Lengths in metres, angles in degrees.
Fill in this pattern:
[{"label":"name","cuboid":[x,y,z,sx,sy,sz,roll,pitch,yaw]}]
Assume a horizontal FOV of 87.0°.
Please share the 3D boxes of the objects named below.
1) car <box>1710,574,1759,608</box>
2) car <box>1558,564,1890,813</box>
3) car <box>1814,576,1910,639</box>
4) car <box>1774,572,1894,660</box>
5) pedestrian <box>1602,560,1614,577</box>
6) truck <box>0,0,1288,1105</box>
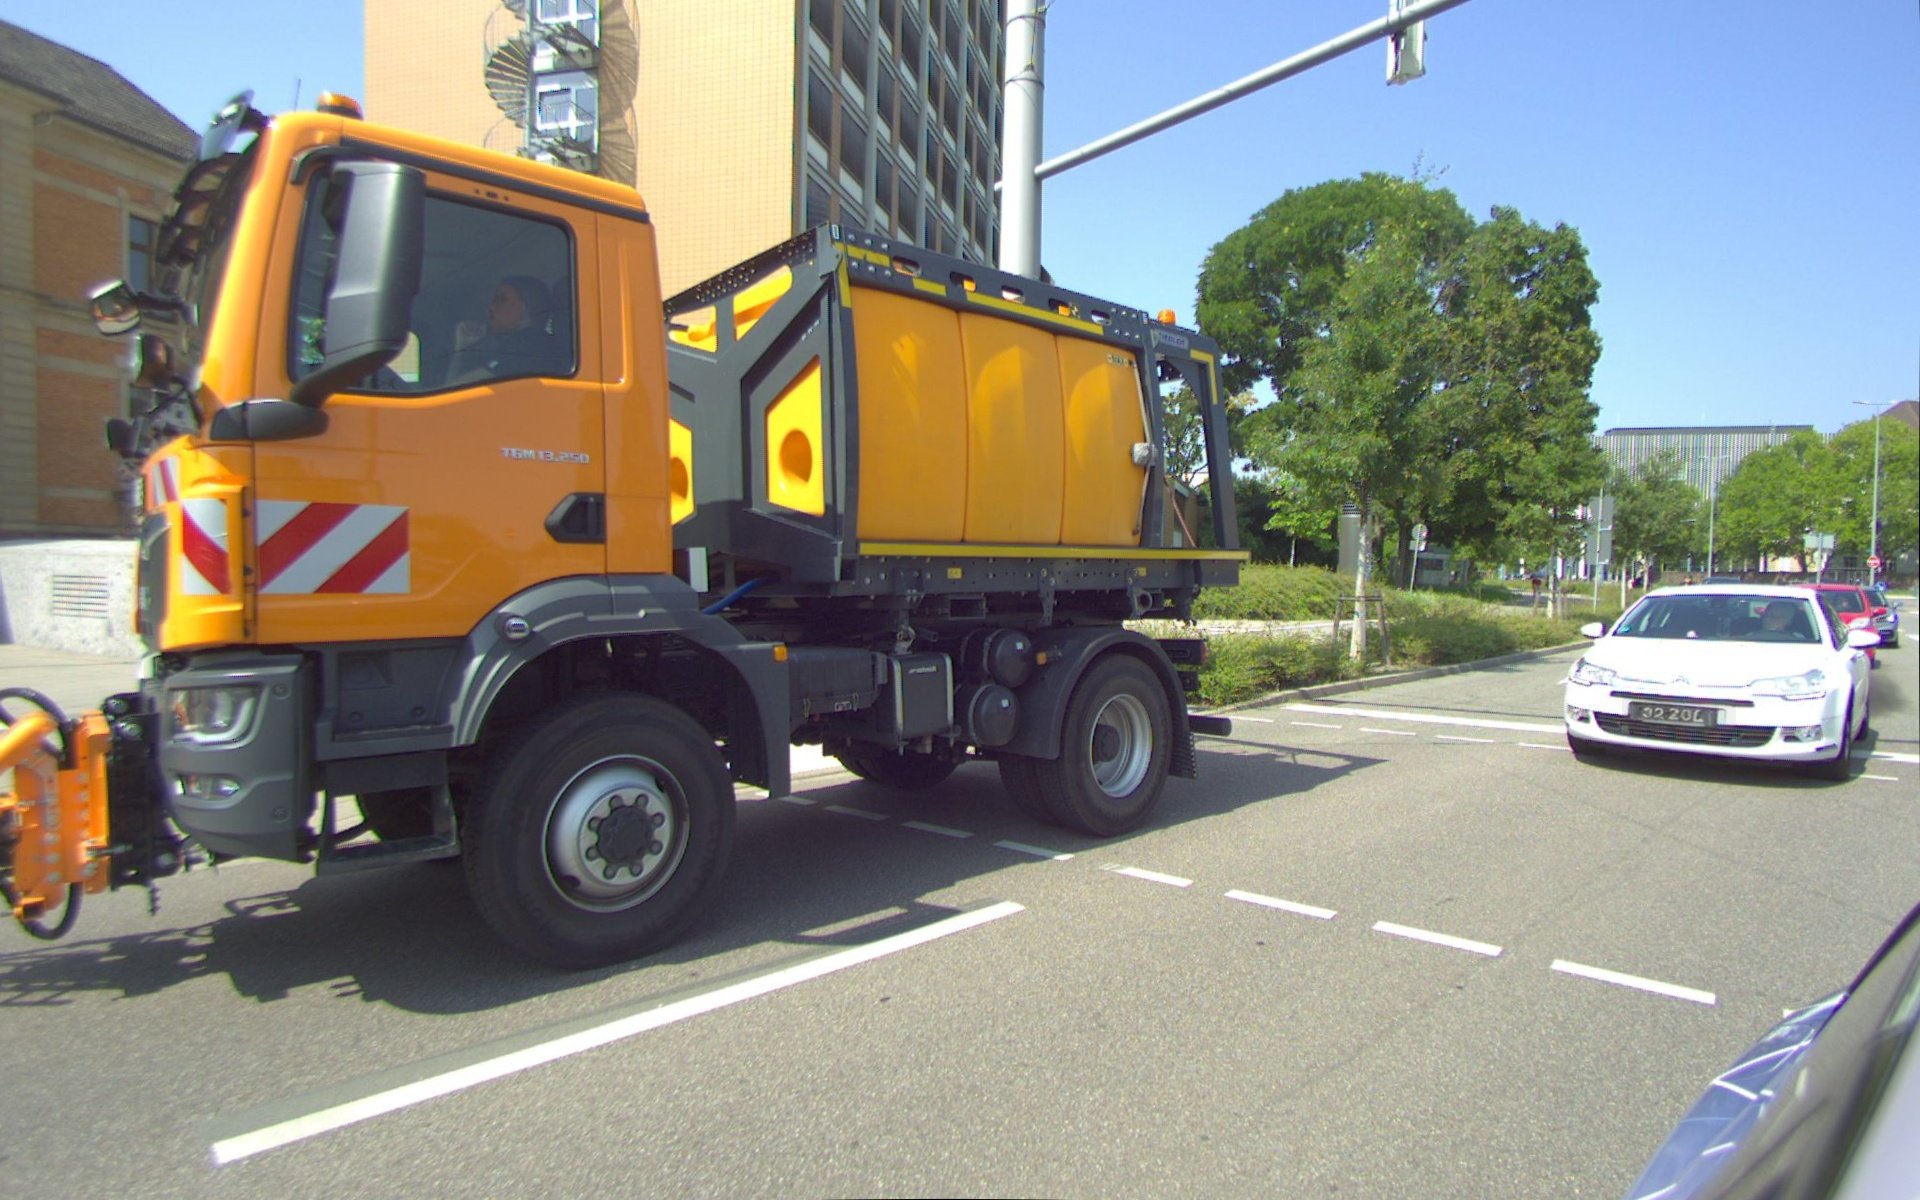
[{"label":"car","cuboid":[34.272,-0.432,44.830,1.608,1.440,3.559,2,2,37]},{"label":"car","cuboid":[6.887,0.519,8.906,1.767,1.638,4.529,0,2,45]},{"label":"car","cuboid":[21.332,0.126,24.032,1.510,1.355,3.460,0,1,39]},{"label":"car","cuboid":[15.890,0.226,18.363,1.512,1.426,3.307,2,2,43]},{"label":"pedestrian","cuboid":[70.300,-3.409,109.710,0.964,1.807,1.102,2,2,38]},{"label":"truck","cuboid":[-1.303,-0.386,5.764,7.070,3.270,3.035,0,1,-43]}]
